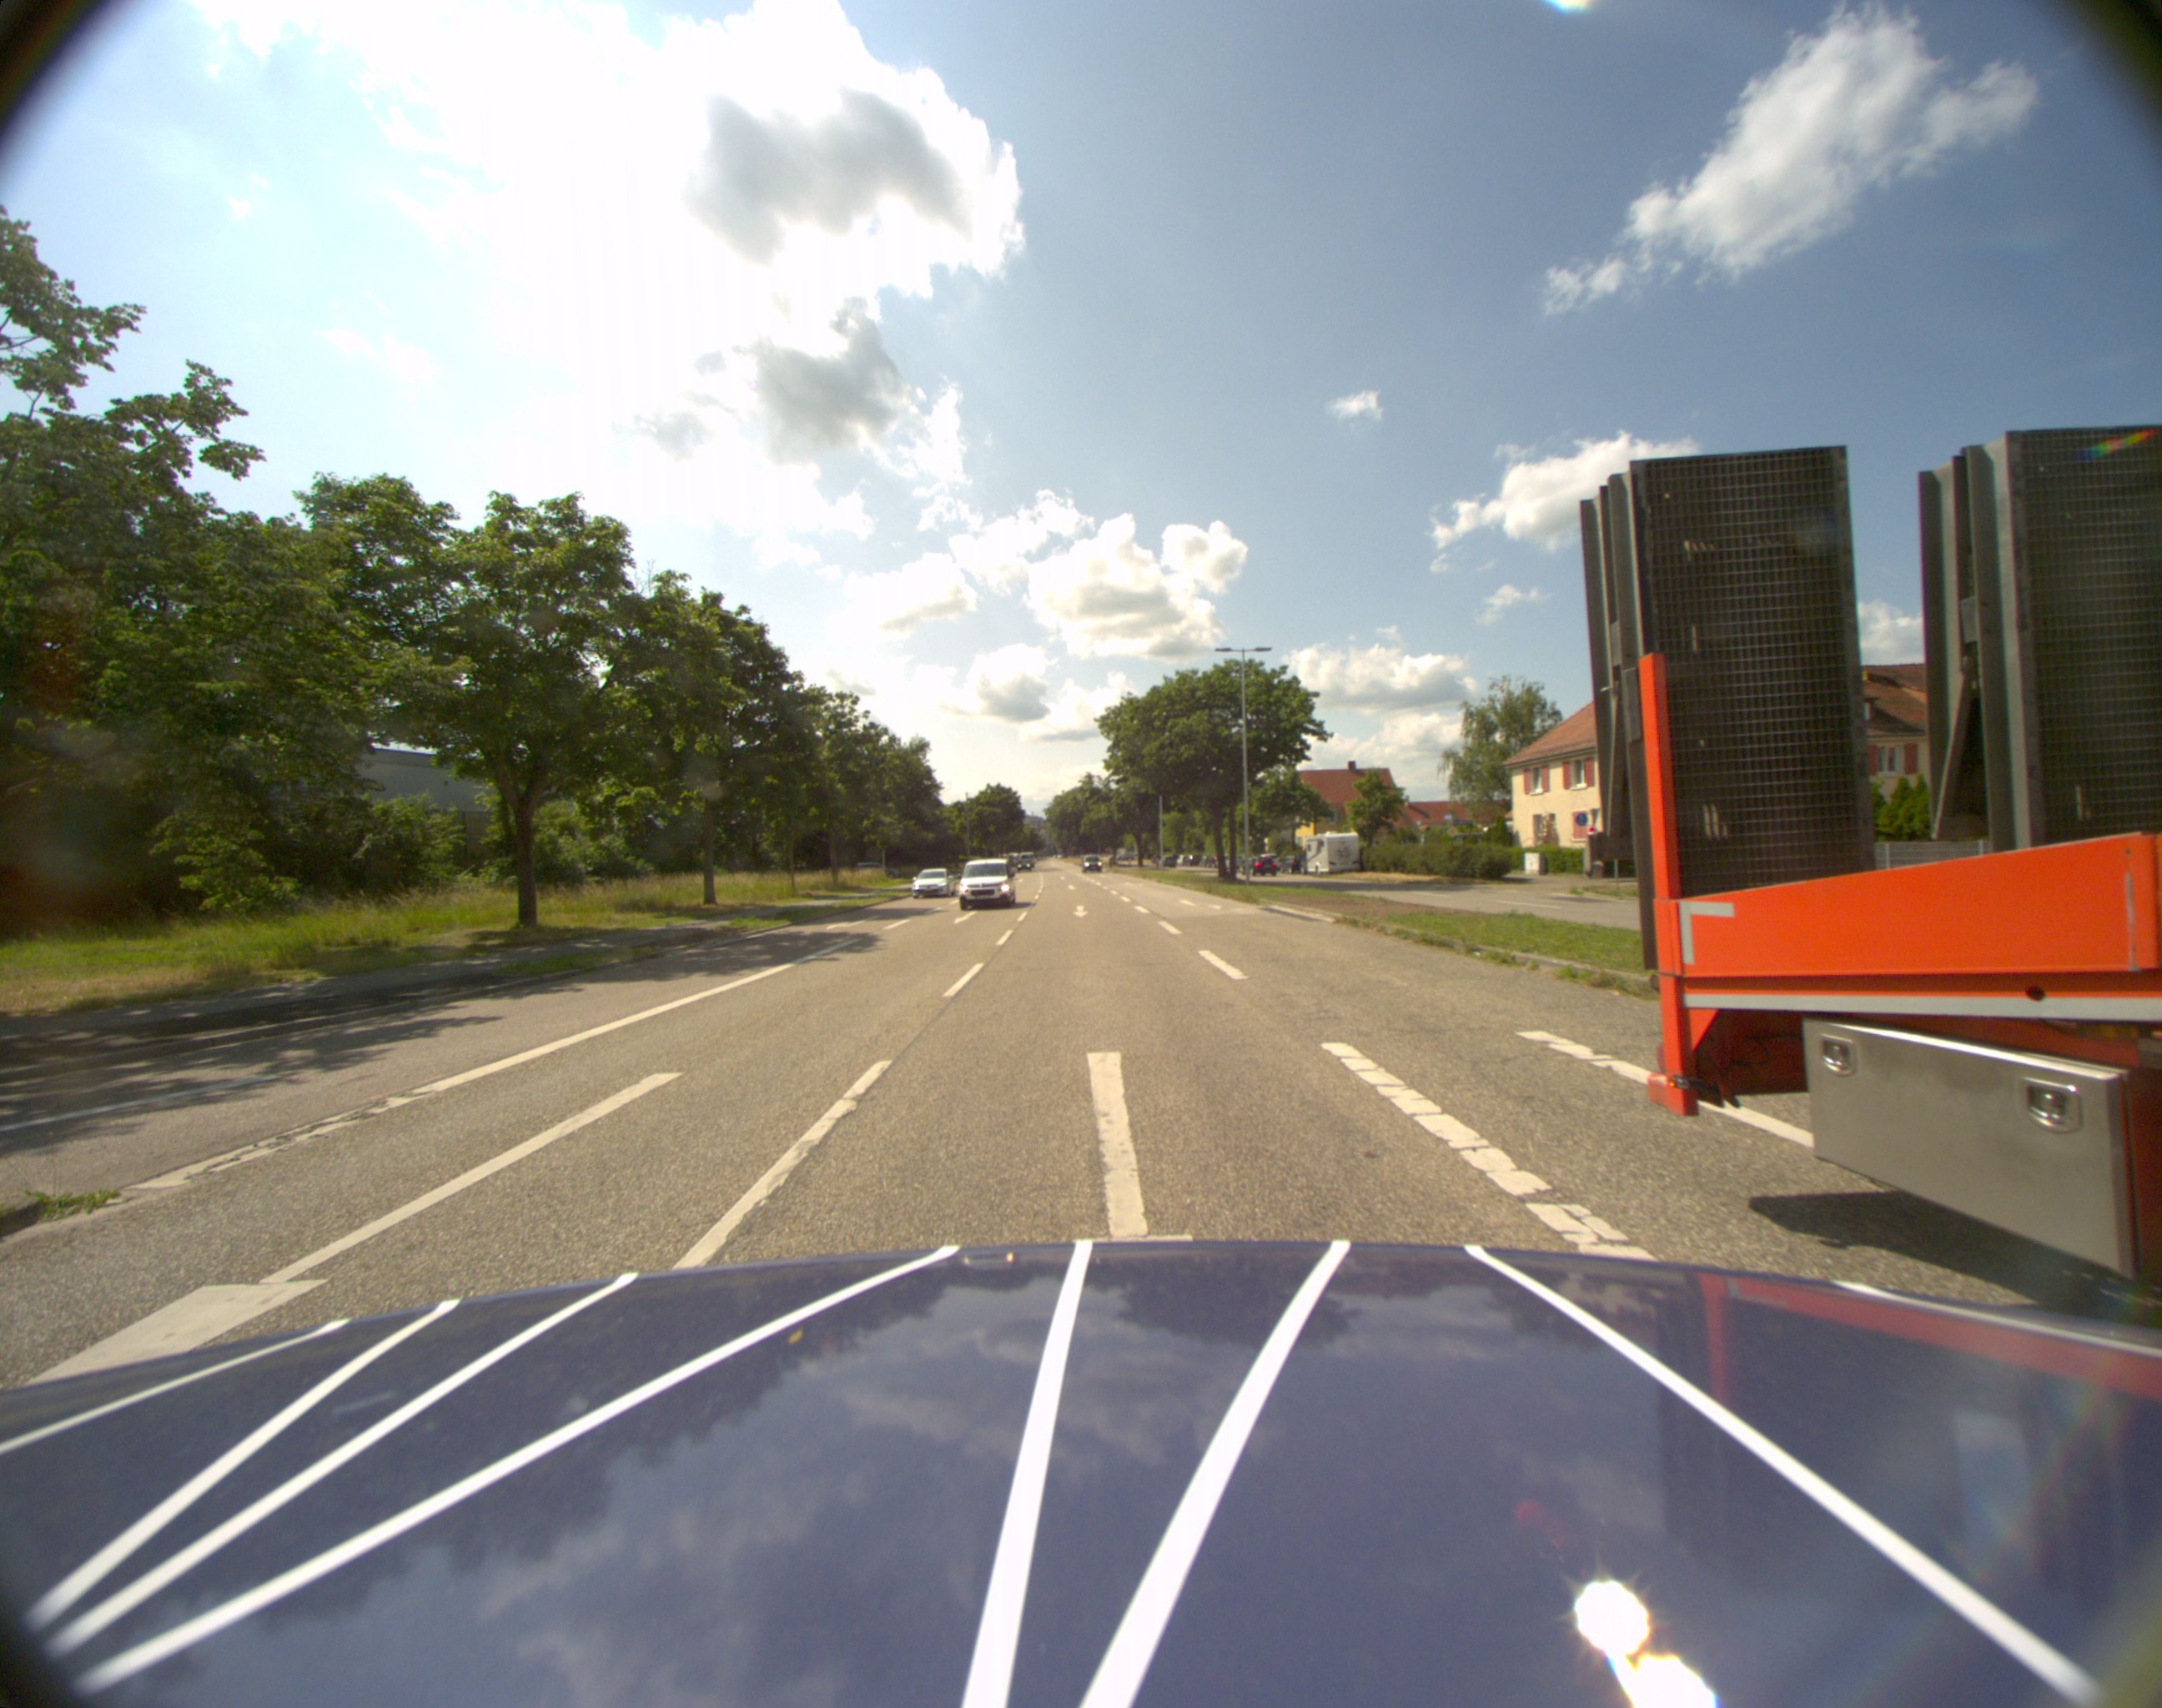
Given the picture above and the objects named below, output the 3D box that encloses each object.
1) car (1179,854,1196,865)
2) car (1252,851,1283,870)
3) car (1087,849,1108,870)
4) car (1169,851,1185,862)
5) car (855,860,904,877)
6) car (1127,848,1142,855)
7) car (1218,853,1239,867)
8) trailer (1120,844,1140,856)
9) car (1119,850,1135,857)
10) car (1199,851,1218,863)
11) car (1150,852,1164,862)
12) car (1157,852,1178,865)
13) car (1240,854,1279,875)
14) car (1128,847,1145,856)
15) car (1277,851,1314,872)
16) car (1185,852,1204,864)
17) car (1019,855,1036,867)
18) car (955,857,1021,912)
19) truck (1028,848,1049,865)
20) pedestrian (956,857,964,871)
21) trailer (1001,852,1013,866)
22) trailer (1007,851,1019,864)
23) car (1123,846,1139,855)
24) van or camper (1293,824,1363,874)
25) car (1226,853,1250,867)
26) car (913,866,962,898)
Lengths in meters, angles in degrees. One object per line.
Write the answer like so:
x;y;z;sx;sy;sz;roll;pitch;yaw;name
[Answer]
15.497;0.827;110.960;1.665;1.443;3.845;-4;1;-4;car
16.912;0.572;69.120;1.693;1.477;4.123;-4;1;-1;car
1.610;0.551;75.894;1.768;1.893;4.540;-4;1;-1;car
14.954;0.339;118.796;1.665;1.603;4.312;-4;1;-4;car
-18.565;1.339;70.148;4.176;1.484;1.784;1;-2;-7;car
13.713;-0.578;193.964;1.569;1.390;4.007;-3;2;45;car
16.629;0.664;85.871;1.406;1.548;3.741;-4;0;-3;car
13.707;-1.131;213.679;2.821;3.090;5.763;-4;0;35;trailer
12.093;-0.062;201.579;3.998;1.502;1.799;-4;1;-2;car
16.025;0.400;95.410;1.567;1.387;3.476;-4;1;-3;car
13.475;0.489;135.762;1.772;1.543;3.998;-4;1;-4;car
10.179;0.506;89.580;1.737;1.499;4.650;1;1;-2;car
13.289;0.765;56.805;1.776;1.430;4.575;-1;1;0;car
13.781;-0.578;188.706;1.800;2.002;4.007;-2;2;45;car
16.982;0.548;60.275;1.640;1.477;3.991;-4;1;-1;car
15.575;0.587;103.999;1.665;1.473;4.102;-4;0;-4;car
-7.218;0.915;102.699;1.758;1.482;3.999;-4;1;1;car
-3.377;1.066;28.558;1.936;1.774;4.715;-4;0;-2;car
-7.127;0.358;128.680;2.848;2.648;7.350;-4;1;1;truck
-15.444;1.274;96.982;0.719;1.784;0.739;-4;2;-4;pedestrian
-12.372;0.802;127.465;1.958;2.338;4.603;-1;1;-4;trailer
-13.240;0.629;148.266;1.999;2.352;4.780;2;1;-3;trailer
12.917;-0.893;196.648;1.800;2.002;4.007;-2;2;45;car
17.247;-0.318;53.589;2.265;3.094;7.319;-4;0;-1;van or camper
16.640;0.598;80.631;1.515;1.362;4.530;-4;0;-1;car
-7.386;1.398;39.420;1.737;1.477;4.092;-2;0;0;car
